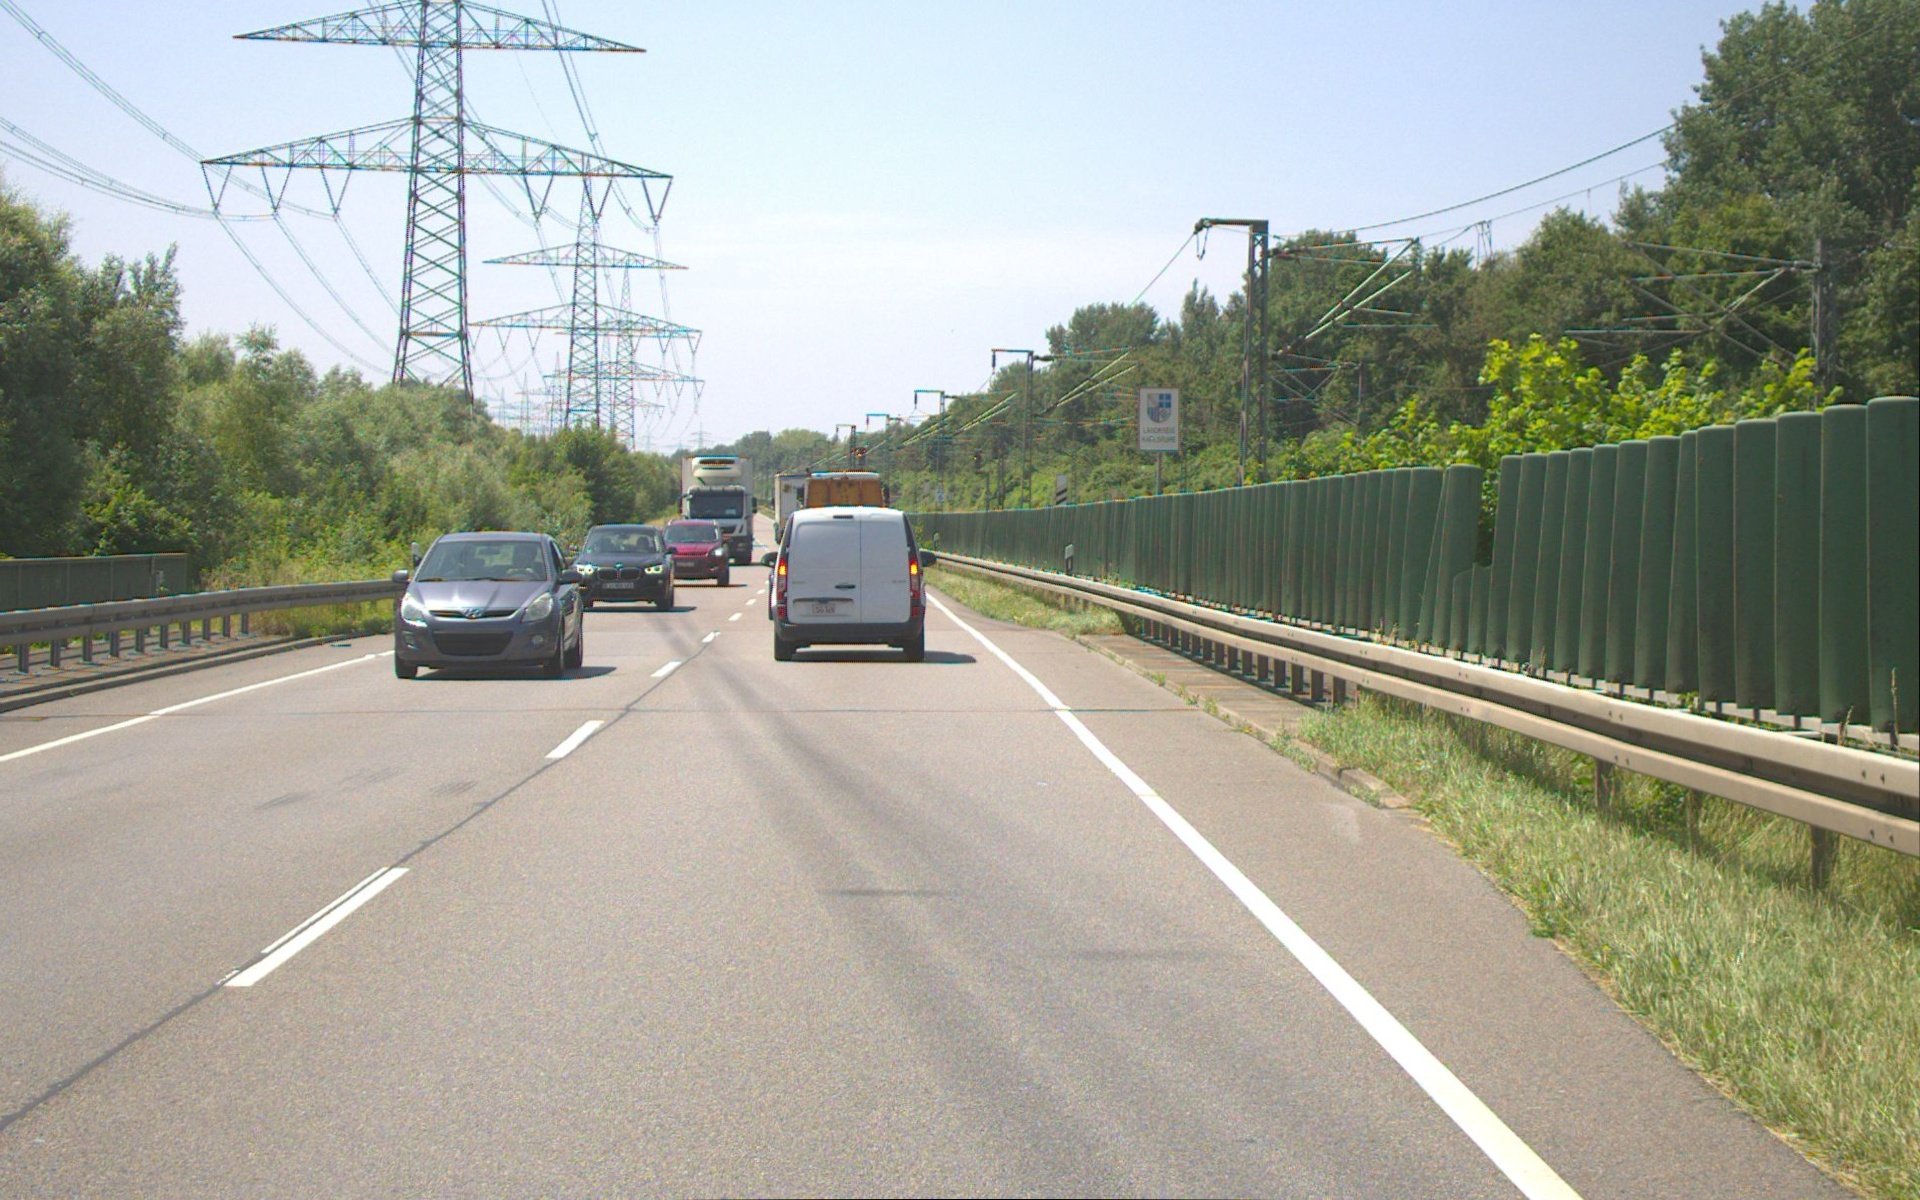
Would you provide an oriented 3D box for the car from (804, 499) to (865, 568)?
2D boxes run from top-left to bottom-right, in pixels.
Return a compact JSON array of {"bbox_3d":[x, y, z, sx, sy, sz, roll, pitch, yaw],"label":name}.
[{"bbox_3d":[-3.717,-1.983,102.419,1.763,2.007,4.001,0,1,-2],"label":"car"}]

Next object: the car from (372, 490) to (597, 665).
[{"bbox_3d":[-4.966,-0.271,36.379,1.993,1.735,4.001,0,1,-3],"label":"car"}]

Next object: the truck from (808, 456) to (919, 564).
[{"bbox_3d":[-3.206,-3.101,114.097,3.296,3.161,14.407,3,2,-2],"label":"truck"}]

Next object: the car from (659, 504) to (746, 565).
[{"bbox_3d":[-6.582,-1.684,88.260,1.993,1.521,4.000,0,1,-1],"label":"car"}]

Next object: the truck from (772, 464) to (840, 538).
[{"bbox_3d":[-8.955,-5.813,198.307,3.402,3.841,16.822,3,2,-4],"label":"truck"}]

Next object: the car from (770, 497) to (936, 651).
[{"bbox_3d":[-1.307,-0.346,41.018,1.875,1.735,4.001,0,1,-3],"label":"car"}]

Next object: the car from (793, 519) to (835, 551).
[{"bbox_3d":[-7.037,-3.145,165.757,1.993,1.521,4.001,0,1,-2],"label":"car"}]

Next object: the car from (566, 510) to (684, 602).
[{"bbox_3d":[-6.534,-0.893,67.434,1.993,1.735,4.000,0,1,-1],"label":"car"}]

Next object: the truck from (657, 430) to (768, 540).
[{"bbox_3d":[-9.548,-4.566,134.502,3.402,3.841,16.820,3,2,-2],"label":"truck"}]
